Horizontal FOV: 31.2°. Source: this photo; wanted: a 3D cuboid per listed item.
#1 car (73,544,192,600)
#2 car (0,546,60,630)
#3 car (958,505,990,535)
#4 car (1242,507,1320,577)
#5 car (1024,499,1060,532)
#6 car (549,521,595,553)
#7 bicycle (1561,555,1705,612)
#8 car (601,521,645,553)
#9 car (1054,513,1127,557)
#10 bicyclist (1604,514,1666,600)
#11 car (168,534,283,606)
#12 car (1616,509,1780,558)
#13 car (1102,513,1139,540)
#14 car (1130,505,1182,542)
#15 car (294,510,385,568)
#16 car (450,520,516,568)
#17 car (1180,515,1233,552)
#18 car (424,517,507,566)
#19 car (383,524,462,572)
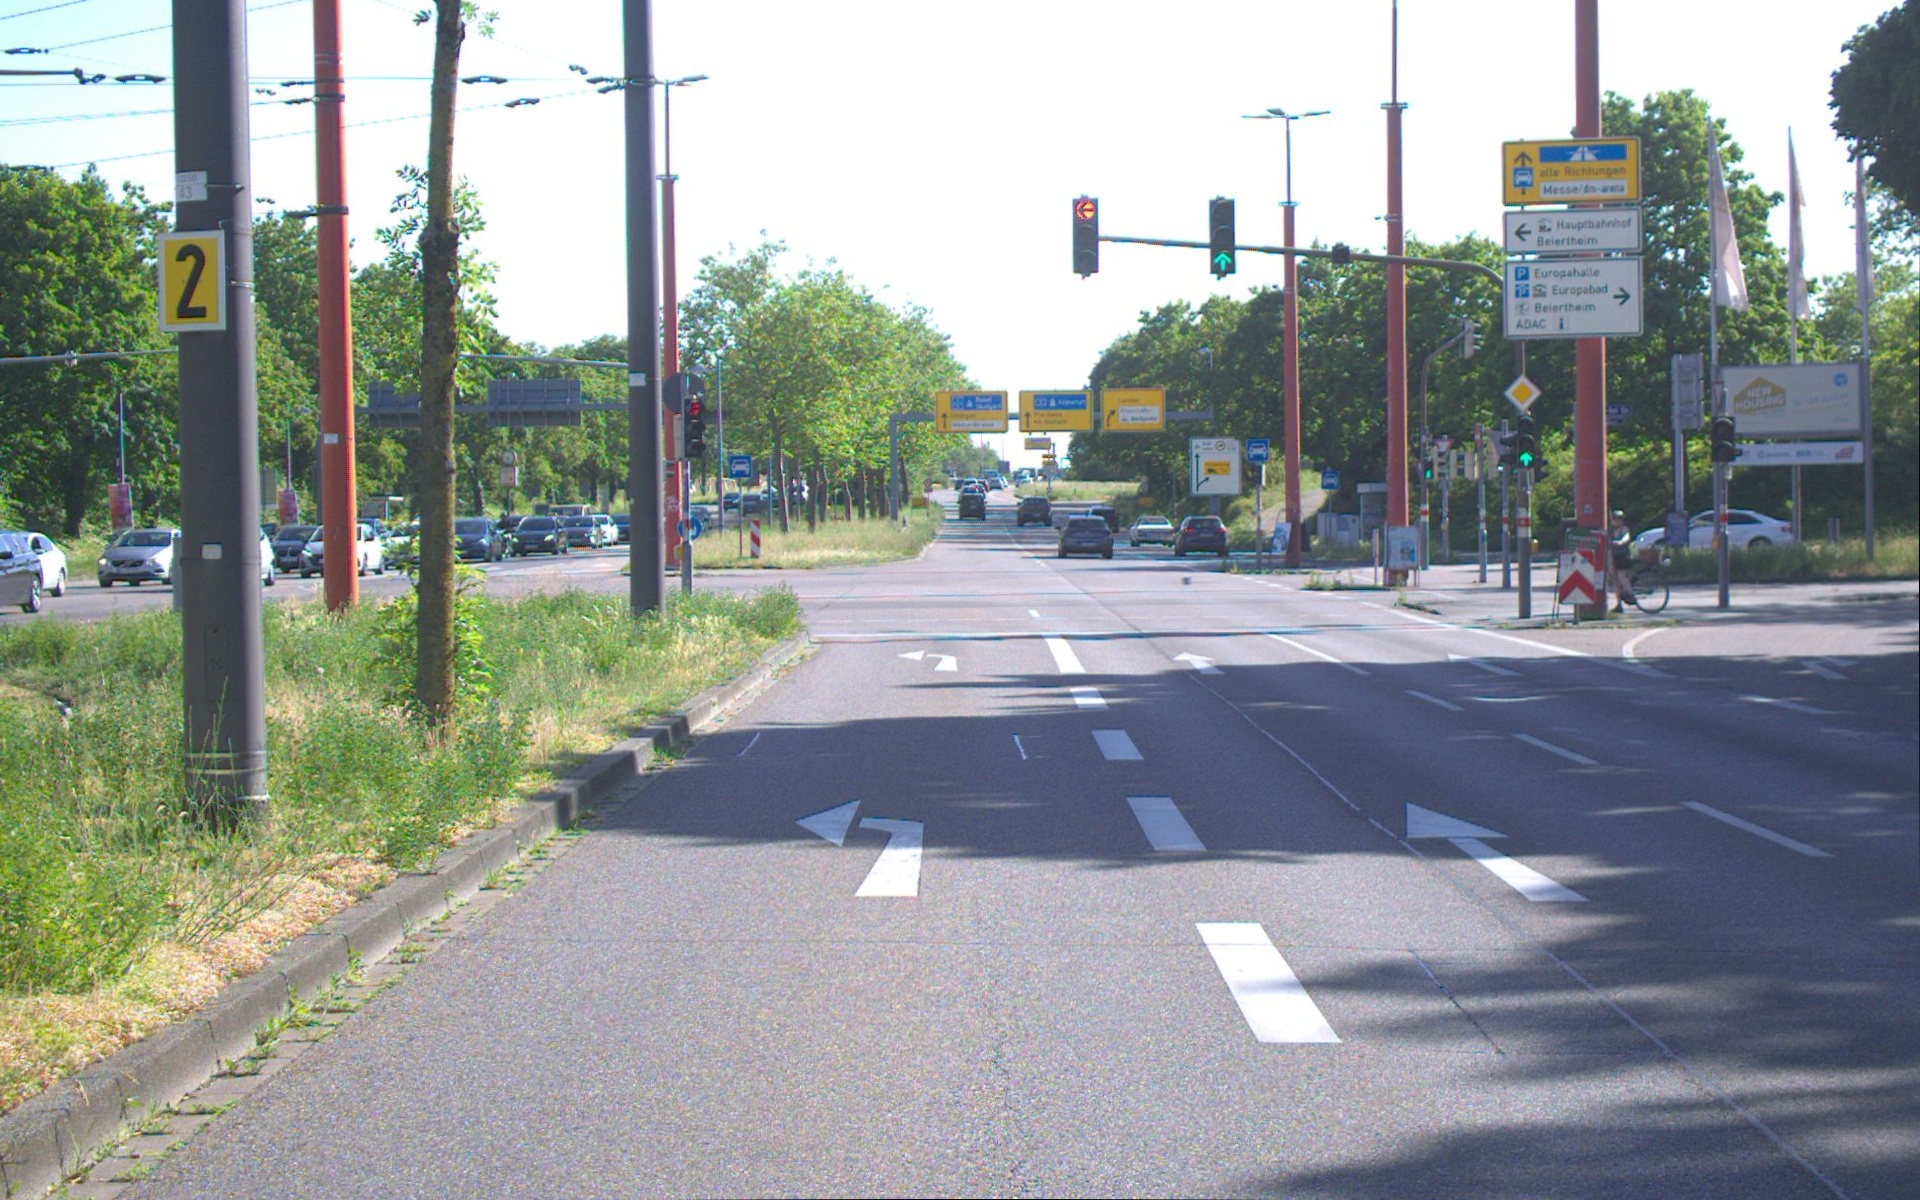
[{"bbox_3d":[-21.022,-0.728,87.508,1.993,1.369,4.401,1,1,0],"label":"car"},{"bbox_3d":[-17.244,-0.219,59.286,1.993,1.404,4.990,1,1,2],"label":"car"},{"bbox_3d":[0.940,-5.480,234.688,1.993,2.007,4.001,1,1,-3],"label":"car"},{"bbox_3d":[8.868,-1.612,94.745,1.994,1.881,3.999,0,1,8],"label":"car"},{"bbox_3d":[5.117,-5.285,214.960,2.154,2.007,4.000,0,1,0],"label":"car"},{"bbox_3d":[-16.860,-2.740,149.539,1.548,1.372,4.263,0,1,0],"label":"car"},{"bbox_3d":[10.610,-0.259,54.200,2.161,0.875,0.560,0,1,-11],"label":"bicycle"},{"bbox_3d":[-15.568,-2.931,159.101,1.605,1.454,3.950,0,1,1],"label":"car"},{"bbox_3d":[4.463,-2.244,117.921,1.993,1.491,4.001,0,1,-6],"label":"car"},{"bbox_3d":[10.620,-0.674,54.137,0.739,1.337,0.708,0,1,-9],"label":"bicyclist"},{"bbox_3d":[-16.992,-0.708,79.669,1.763,1.603,3.758,-1,1,1],"label":"car"},{"bbox_3d":[20.781,-1.869,96.771,4.380,1.366,2.060,0,1,16],"label":"car"},{"bbox_3d":[9.167,-4.223,196.665,1.993,1.535,4.000,0,1,0],"label":"car"},{"bbox_3d":[8.443,-3.302,148.408,1.993,1.535,4.000,1,1,0],"label":"car"},{"bbox_3d":[-17.038,-1.701,94.555,1.589,1.467,4.183,-2,2,2],"label":"car"},{"bbox_3d":[-17.443,-2.053,125.973,1.800,1.701,4.060,-1,1,0],"label":"car"},{"bbox_3d":[8.899,-2.413,124.225,1.738,1.337,3.081,0,1,0],"label":"car"},{"bbox_3d":[-16.717,-1.987,116.346,1.993,1.589,4.464,-1,1,2],"label":"car"},{"bbox_3d":[-16.671,-1.626,106.797,1.703,1.418,4.643,-1,1,0],"label":"car"}]
